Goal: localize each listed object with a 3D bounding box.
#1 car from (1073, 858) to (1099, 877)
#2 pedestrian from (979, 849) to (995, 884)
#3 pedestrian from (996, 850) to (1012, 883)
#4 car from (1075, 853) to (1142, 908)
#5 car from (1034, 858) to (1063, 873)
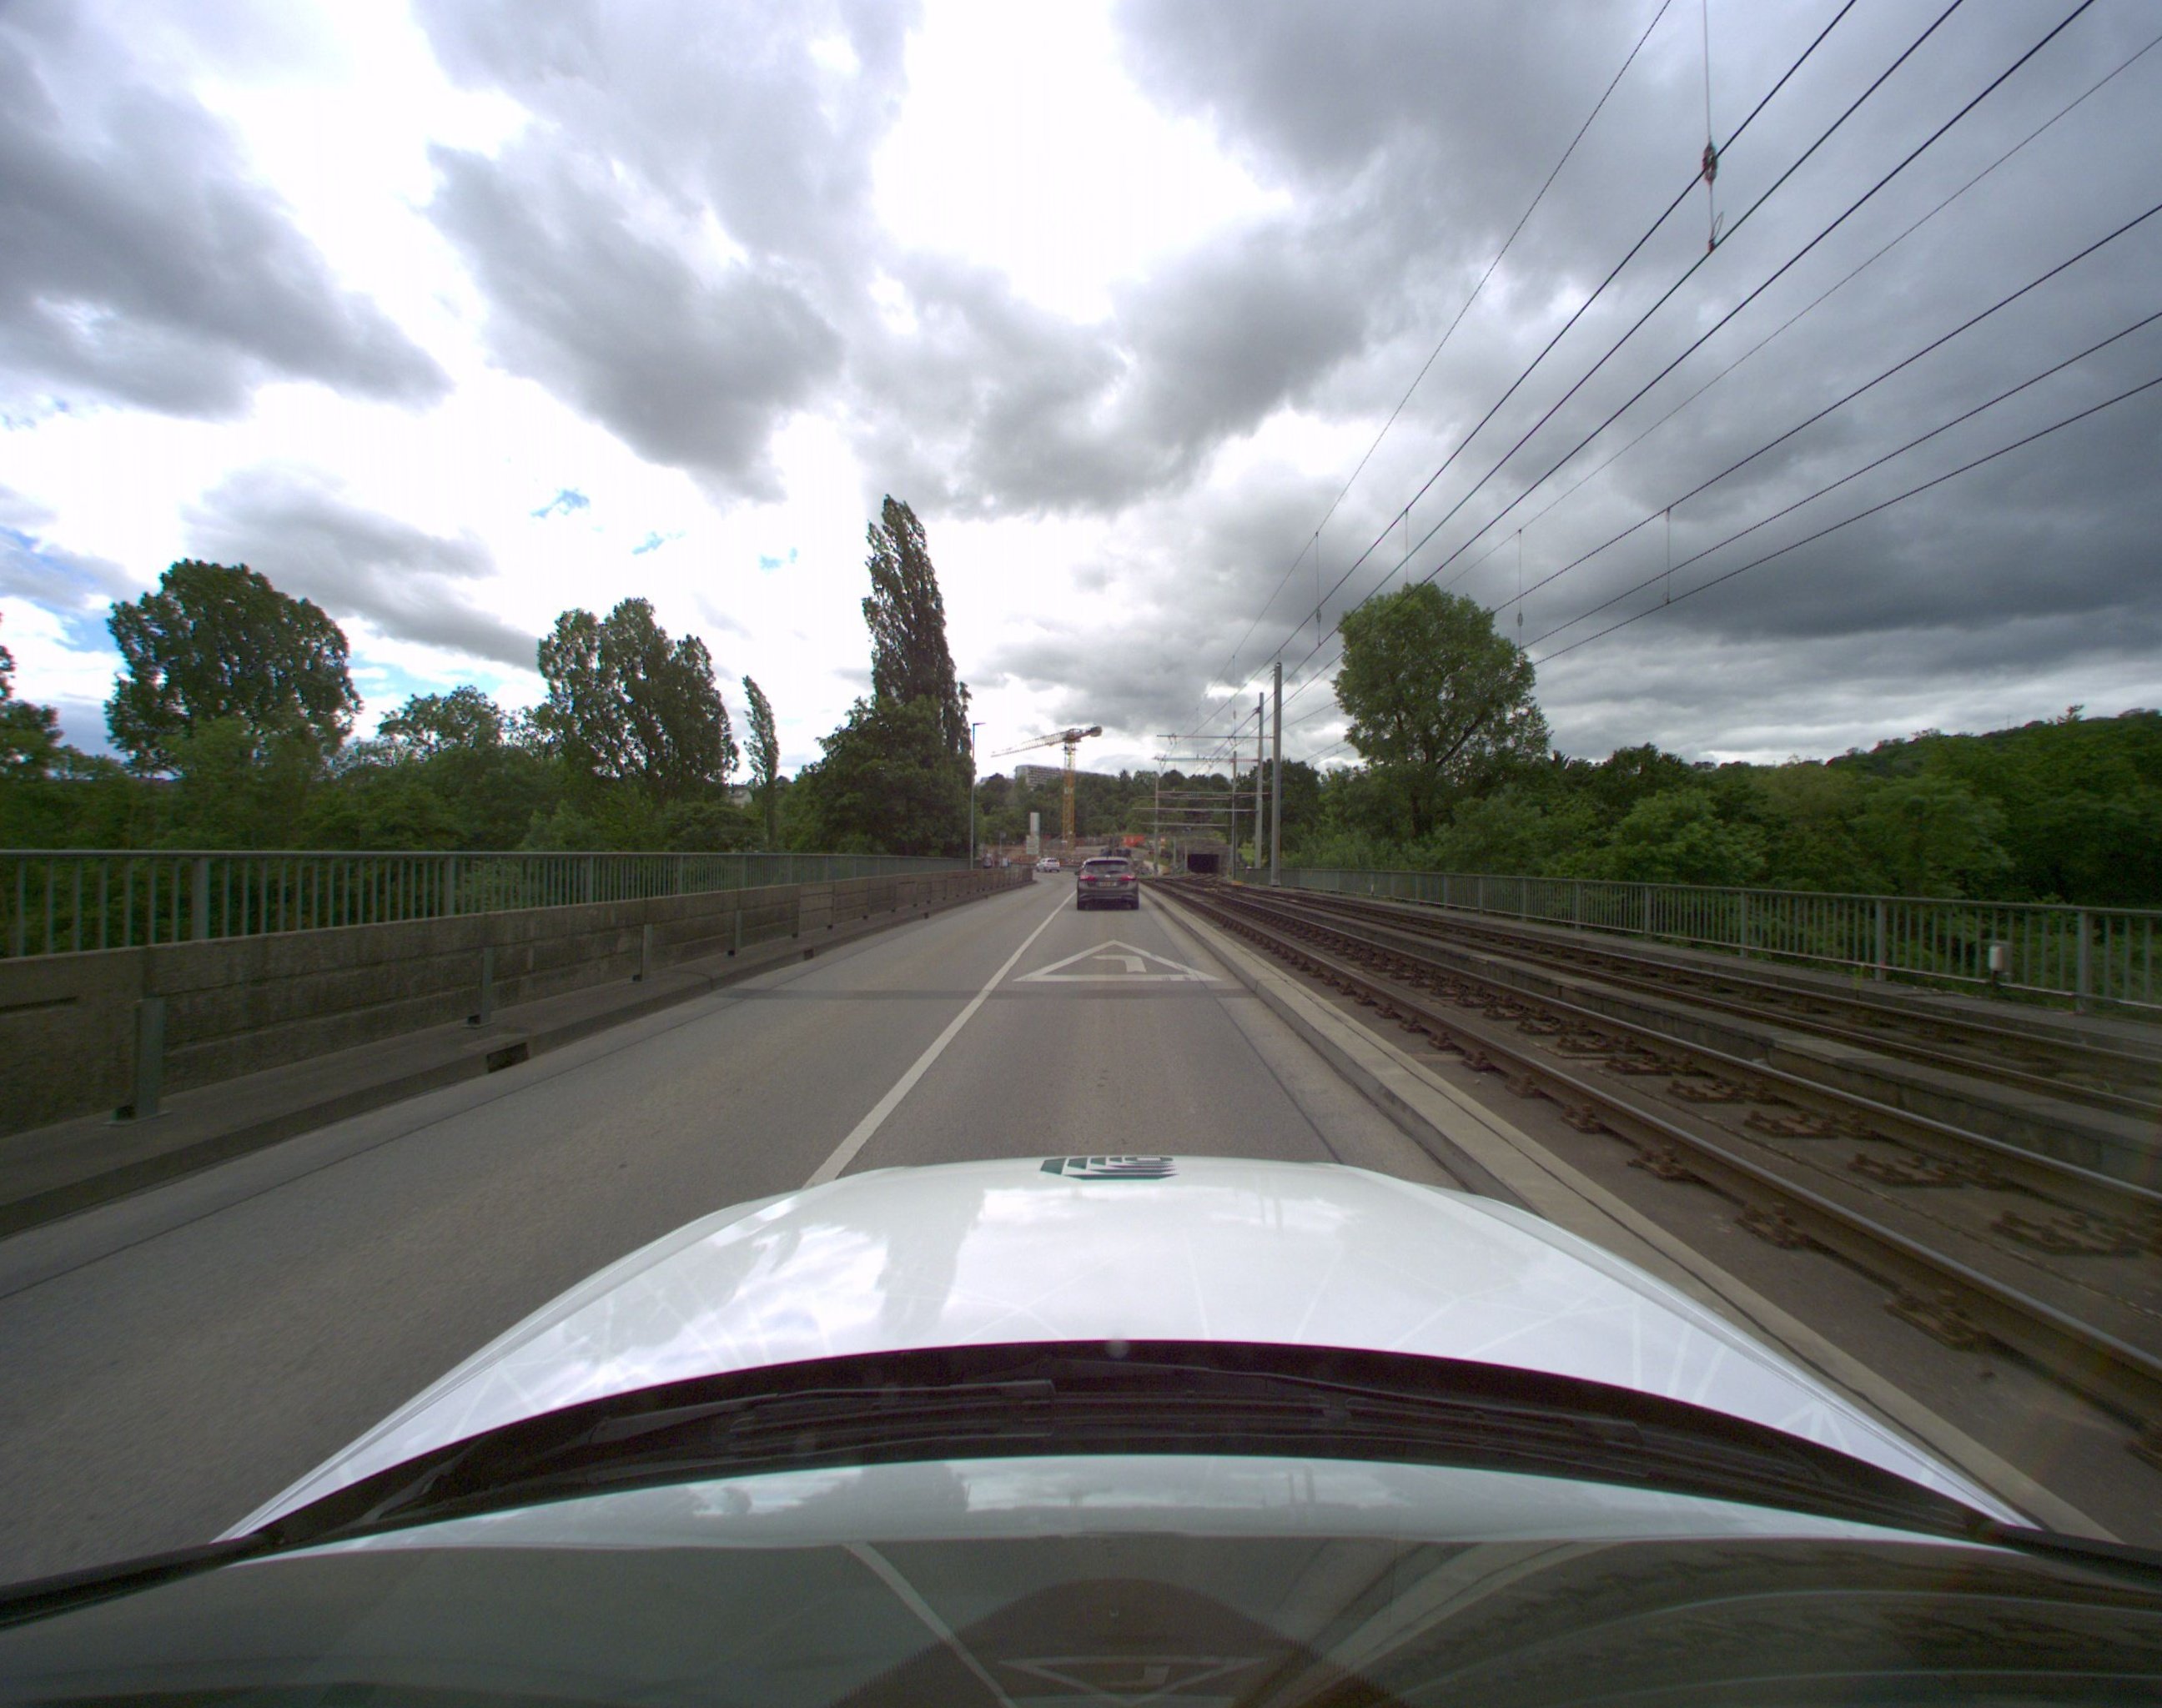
[{"bbox_3d":[0.400,1.130,70.755,1.679,1.606,4.296,0,0,-8],"label":"car"},{"bbox_3d":[-5.076,0.683,43.910,0.718,1.839,0.723,1,-1,1],"label":"pedestrian"},{"bbox_3d":[-4.046,0.669,42.870,0.718,1.701,0.723,1,-1,1],"label":"pedestrian"},{"bbox_3d":[0.781,0.740,24.417,1.823,1.510,4.000,0,-1,1],"label":"car"},{"bbox_3d":[-3.537,1.211,87.254,1.687,1.606,4.276,0,0,-23],"label":"car"}]
